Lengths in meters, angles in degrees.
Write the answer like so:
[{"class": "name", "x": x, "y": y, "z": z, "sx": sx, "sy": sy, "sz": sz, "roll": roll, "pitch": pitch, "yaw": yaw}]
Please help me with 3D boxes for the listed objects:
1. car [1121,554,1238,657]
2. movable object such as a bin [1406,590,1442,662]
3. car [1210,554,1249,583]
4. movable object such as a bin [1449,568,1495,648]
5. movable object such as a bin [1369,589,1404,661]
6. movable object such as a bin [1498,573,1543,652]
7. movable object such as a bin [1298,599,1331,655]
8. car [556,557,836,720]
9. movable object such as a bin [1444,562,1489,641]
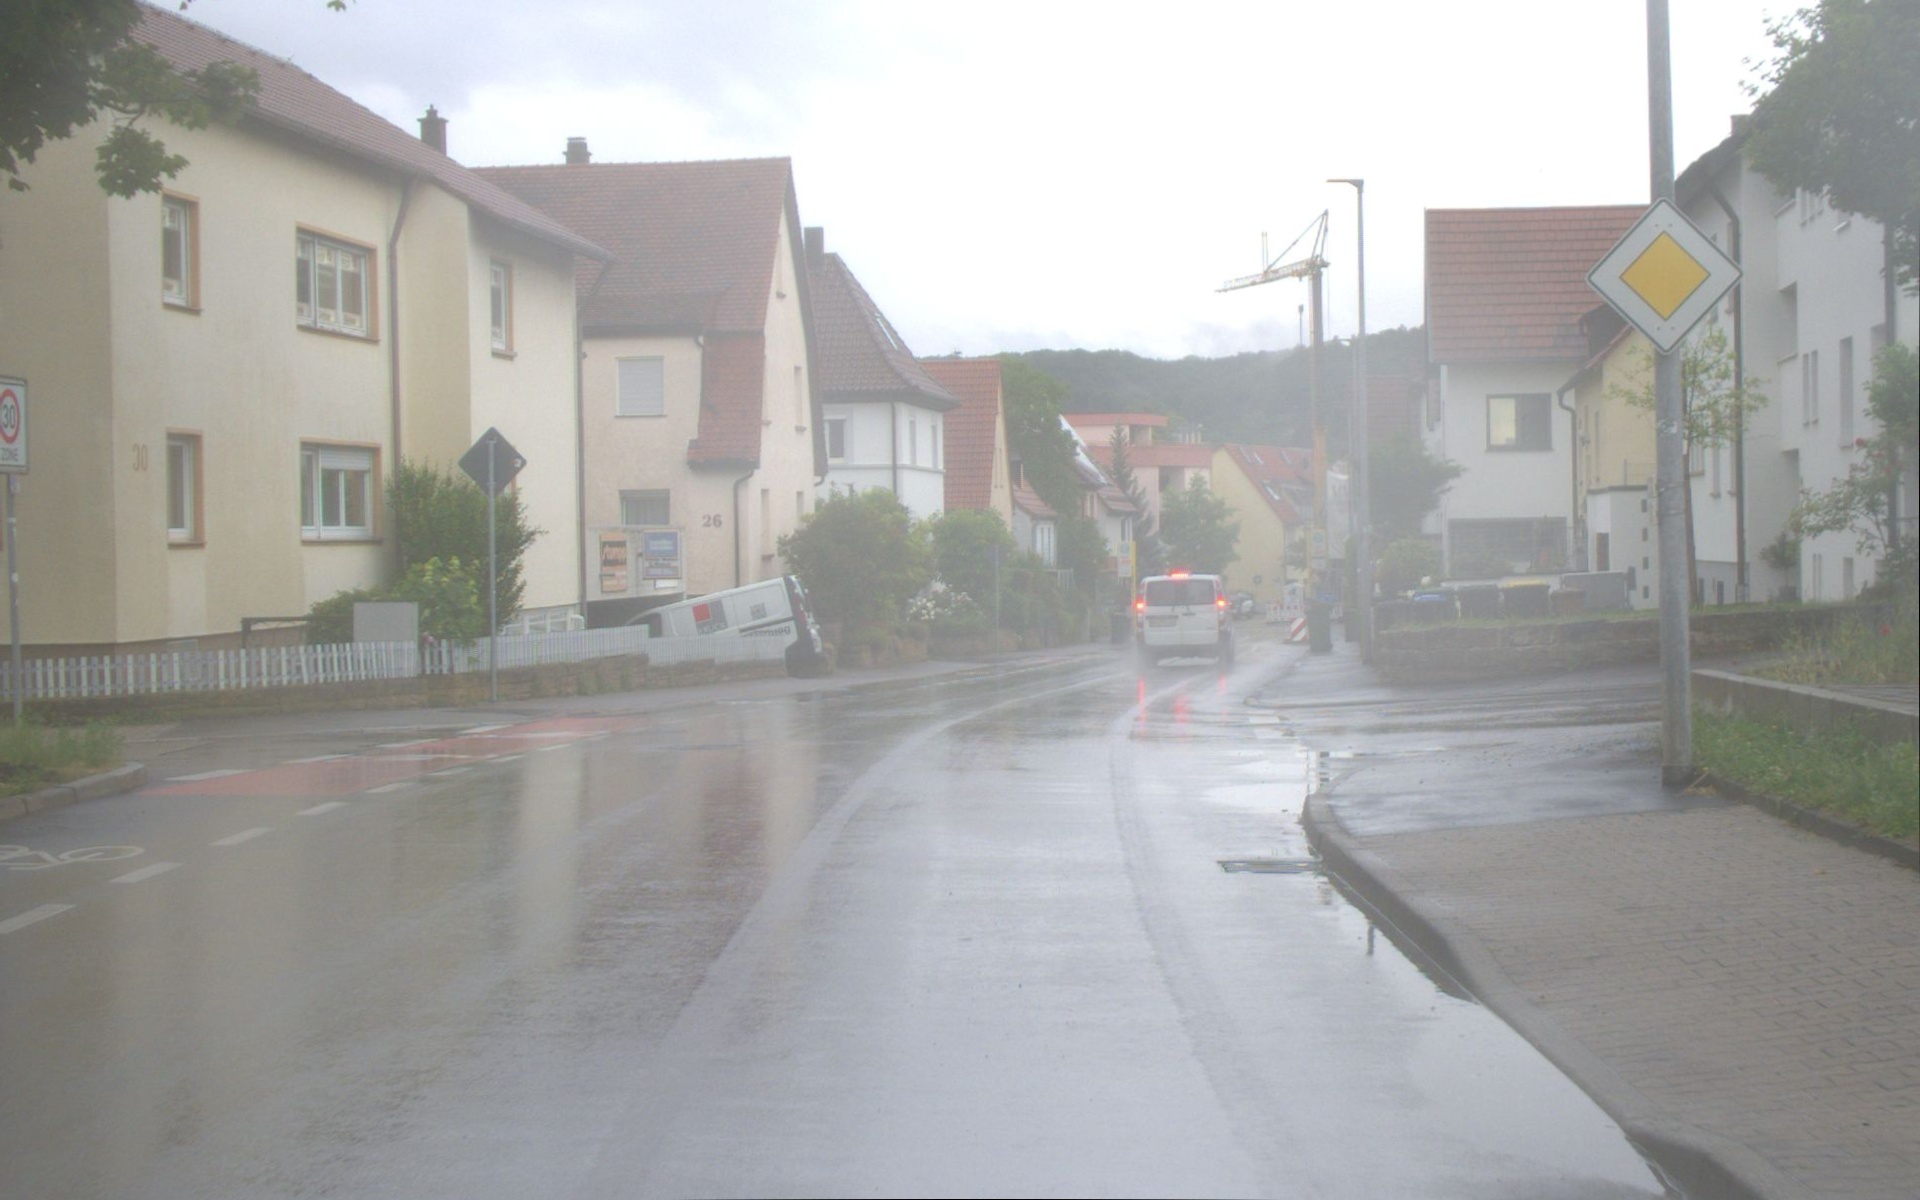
[{"class": "car", "x": 4.517, "y": 0.074, "z": 70.180, "sx": 2.117, "sy": 1.881, "sz": 4.501, "roll": 1, "pitch": 3, "yaw": 7}, {"class": "movable object such as a bin", "x": 6.201, "y": 0.345, "z": 45.957, "sx": 0.425, "sy": 0.937, "sz": 0.508, "roll": 1, "pitch": 2, "yaw": 4}, {"class": "car", "x": 16.147, "y": -1.893, "z": 206.007, "sx": 1.842, "sy": 1.573, "sz": 4.288, "roll": 1, "pitch": 3, "yaw": 11}, {"class": "movable object such as a bin", "x": 6.827, "y": 0.105, "z": 45.871, "sx": 0.544, "sy": 1.024, "sz": 0.632, "roll": 1, "pitch": 2, "yaw": 4}, {"class": "movable object such as a bin", "x": 5.712, "y": 0.330, "z": 46.066, "sx": 0.425, "sy": 0.937, "sz": 0.508, "roll": 1, "pitch": 2, "yaw": 4}, {"class": "movable object such as a bin", "x": 7.472, "y": 0.162, "z": 45.825, "sx": 0.528, "sy": 1.024, "sz": 0.632, "roll": 1, "pitch": 2, "yaw": 4}, {"class": "movable object such as a bin", "x": 8.414, "y": 0.640, "z": 81.588, "sx": 0.745, "sy": 1.274, "sz": 0.882, "roll": -1, "pitch": 2, "yaw": 7}, {"class": "car", "x": -4.867, "y": 0.694, "z": 63.856, "sx": 4.555, "sy": 2.006, "sz": 2.160, "roll": -12, "pitch": 1, "yaw": 6}, {"class": "movable object such as a bin", "x": 6.868, "y": 0.016, "z": 46.593, "sx": 0.544, "sy": 1.024, "sz": 0.632, "roll": 1, "pitch": 2, "yaw": 4}]
